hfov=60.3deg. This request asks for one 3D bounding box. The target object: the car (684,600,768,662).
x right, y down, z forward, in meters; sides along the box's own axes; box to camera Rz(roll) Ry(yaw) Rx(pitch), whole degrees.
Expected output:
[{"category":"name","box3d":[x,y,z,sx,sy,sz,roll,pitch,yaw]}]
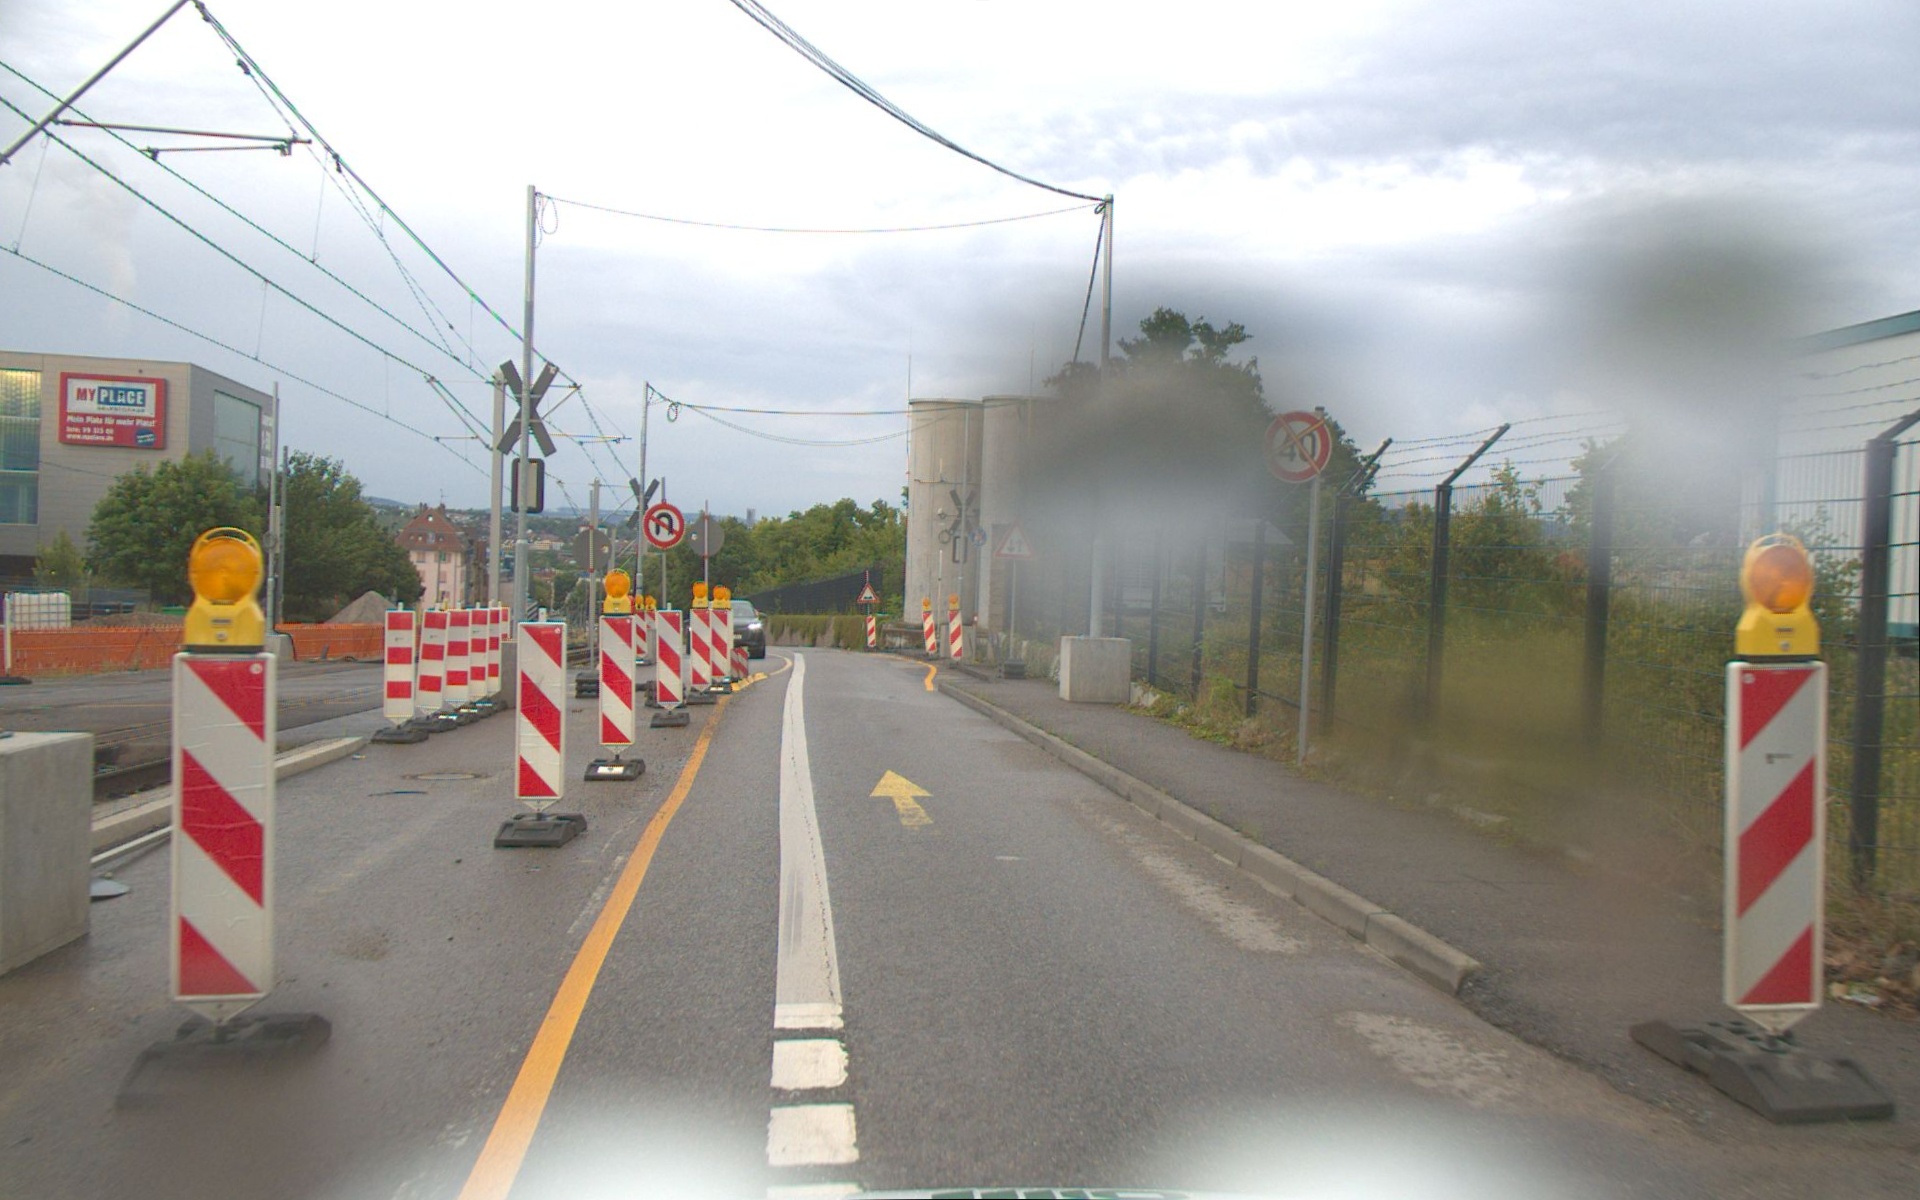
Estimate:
[{"category":"car","box3d":[-6.897,0.894,48.455,1.960,1.707,4.472,1,-1,-14]}]
